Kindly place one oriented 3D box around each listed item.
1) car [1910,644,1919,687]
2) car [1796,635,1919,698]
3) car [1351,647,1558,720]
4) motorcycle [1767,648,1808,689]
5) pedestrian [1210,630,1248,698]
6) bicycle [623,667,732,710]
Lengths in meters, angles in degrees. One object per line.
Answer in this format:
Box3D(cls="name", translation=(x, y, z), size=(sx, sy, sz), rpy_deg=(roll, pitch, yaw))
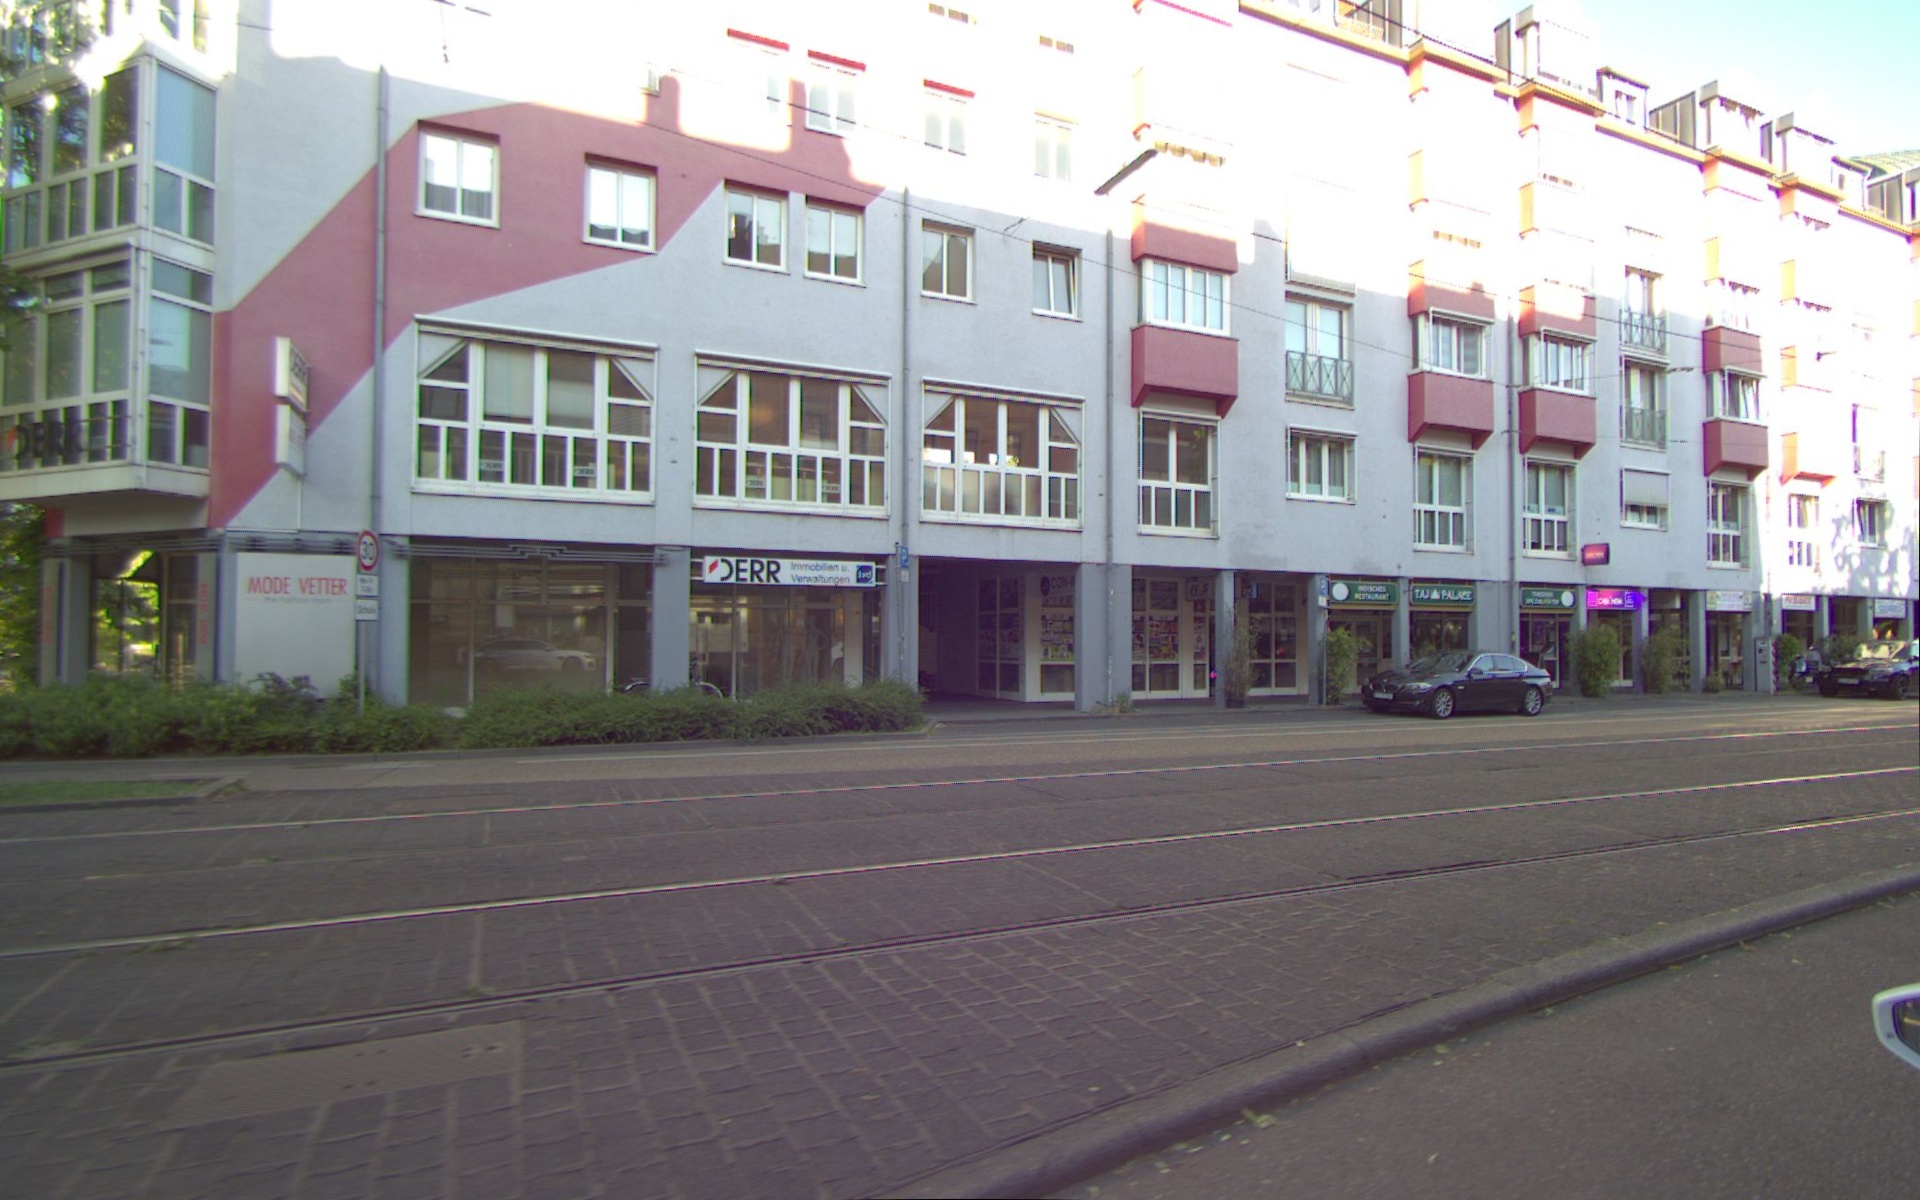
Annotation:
Box3D(cls="car", translation=(34.343, 2.248, 34.005), size=(3.531, 1.470, 1.866), rpy_deg=(1, -1, -22))
Box3D(cls="car", translation=(28.164, 2.019, 30.817), size=(4.755, 1.735, 2.084), rpy_deg=(2, -1, -26))
Box3D(cls="car", translation=(11.285, 1.833, 22.860), size=(4.647, 1.458, 1.862), rpy_deg=(1, -1, -28))
Box3D(cls="motorcycle", translation=(25.920, 2.116, 31.465), size=(2.125, 1.221, 0.664), rpy_deg=(2, -1, -42))
Box3D(cls="pedestrian", translation=(6.944, 1.635, 25.916), size=(0.608, 1.734, 0.740), rpy_deg=(1, -2, -28))
Box3D(cls="bicycle", translation=(-4.953, 1.544, 17.679), size=(1.789, 0.667, 0.453), rpy_deg=(1, 1, -30))
